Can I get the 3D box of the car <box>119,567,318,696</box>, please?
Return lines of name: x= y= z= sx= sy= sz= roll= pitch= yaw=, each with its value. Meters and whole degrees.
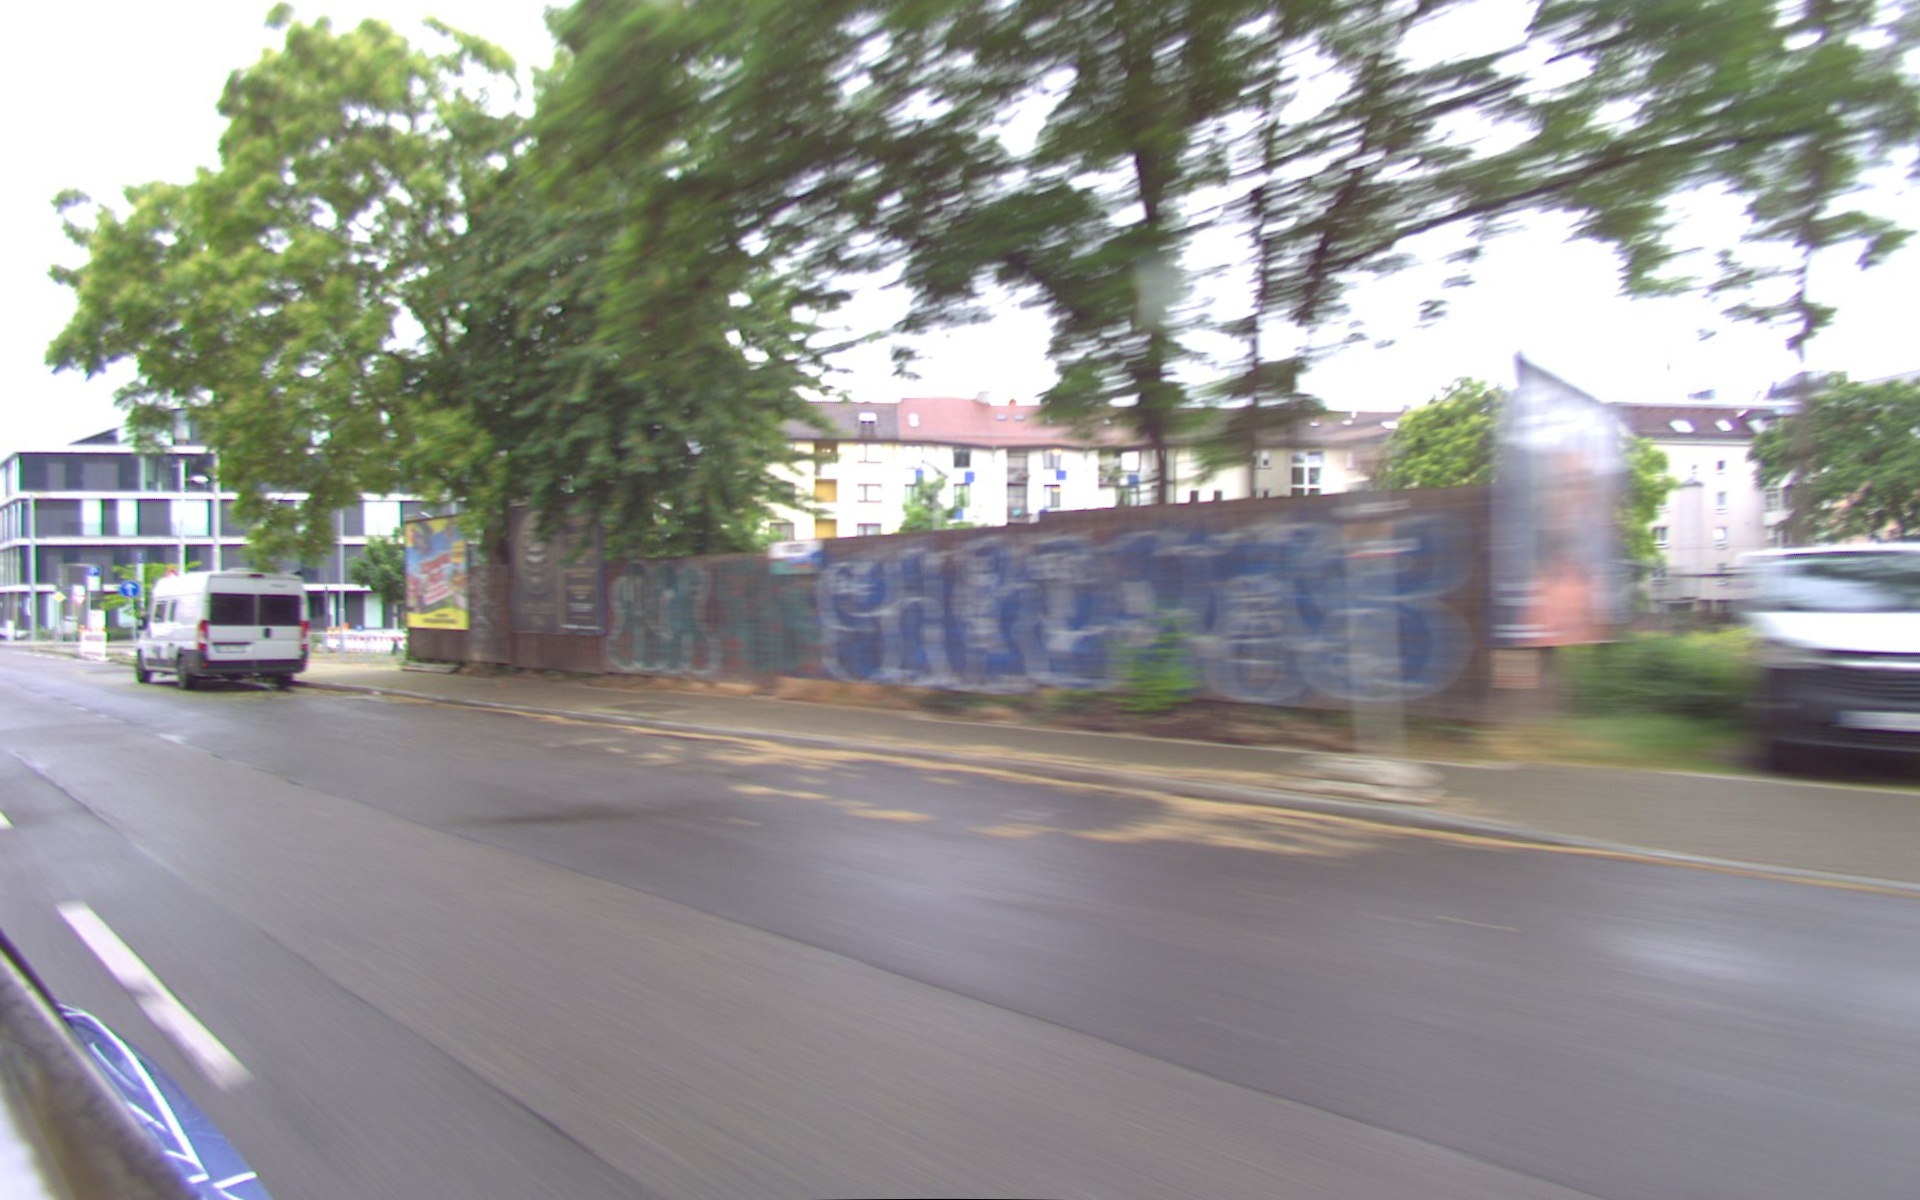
car: x=-17.224 y=0.761 z=23.342 sx=6.532 sy=2.599 sz=2.207 roll=-2 pitch=-3 yaw=40

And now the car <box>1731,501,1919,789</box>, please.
car: x=8.485 y=0.364 z=9.232 sx=2.144 sy=2.025 sz=5.445 roll=-2 pitch=-2 yaw=39

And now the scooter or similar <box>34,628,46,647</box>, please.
scooter or similar: x=-60.876 y=2.481 z=66.955 sx=1.231 sy=1.258 sz=0.491 roll=-2 pitch=0 yaw=42
